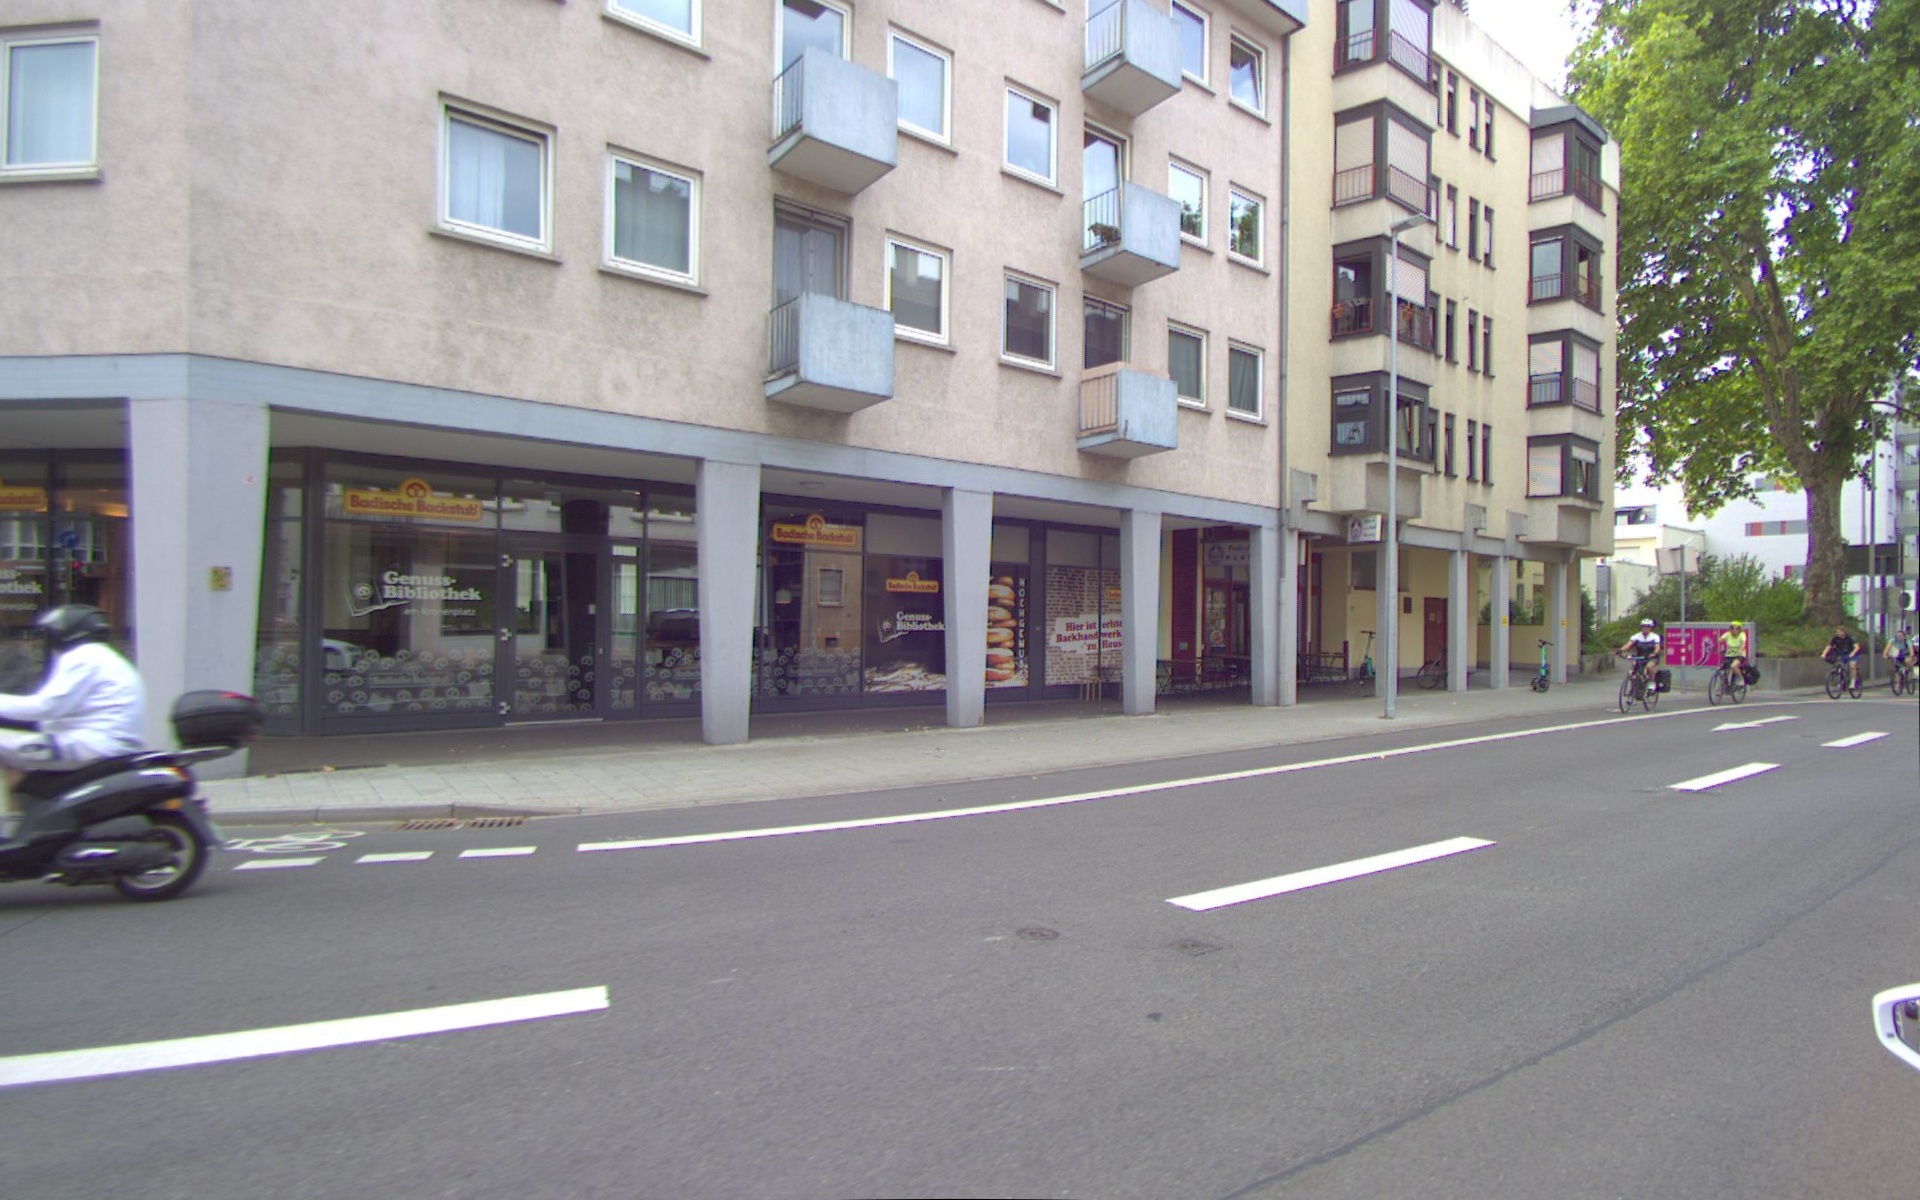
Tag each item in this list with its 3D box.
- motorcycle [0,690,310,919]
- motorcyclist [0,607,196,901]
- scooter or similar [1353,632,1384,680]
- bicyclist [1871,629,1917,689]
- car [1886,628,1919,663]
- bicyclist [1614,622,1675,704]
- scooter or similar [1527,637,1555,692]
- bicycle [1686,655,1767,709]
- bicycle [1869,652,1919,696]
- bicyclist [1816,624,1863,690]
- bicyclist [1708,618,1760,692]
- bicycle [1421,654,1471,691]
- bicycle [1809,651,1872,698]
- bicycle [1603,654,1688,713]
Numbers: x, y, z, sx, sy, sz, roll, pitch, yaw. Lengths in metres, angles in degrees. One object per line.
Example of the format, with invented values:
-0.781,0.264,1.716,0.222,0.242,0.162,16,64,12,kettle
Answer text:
-4.831,1.080,5.524,2.010,1.109,0.719,1,-3,-27,motorcycle
-4.851,0.799,5.522,0.854,1.479,0.793,1,-3,-27,motorcyclist
10.800,1.471,26.532,1.168,1.218,0.283,-1,0,-42,scooter or similar
25.158,1.573,27.053,1.065,1.546,0.653,0,2,-34,bicyclist
47.252,2.240,47.928,1.950,1.627,4.225,0,1,-37,car
13.554,1.218,19.904,0.992,1.546,0.653,0,2,-34,bicyclist
14.145,1.563,24.474,0.281,1.281,1.177,0,-1,15,scooter or similar
16.815,1.774,22.018,2.228,1.020,0.733,0,1,-34,bicycle
25.190,1.969,26.948,2.173,1.020,0.732,0,1,-35,bicycle
21.758,1.393,24.841,0.847,1.546,0.653,0,2,-34,bicyclist
16.947,1.192,21.991,0.832,1.546,0.653,0,2,-34,bicyclist
11.797,1.748,24.377,1.604,0.832,0.426,2,-1,-38,bicycle
21.771,1.825,24.826,1.956,1.020,0.732,0,1,-35,bicycle
13.574,1.629,19.865,1.889,1.020,0.733,0,1,-34,bicycle
